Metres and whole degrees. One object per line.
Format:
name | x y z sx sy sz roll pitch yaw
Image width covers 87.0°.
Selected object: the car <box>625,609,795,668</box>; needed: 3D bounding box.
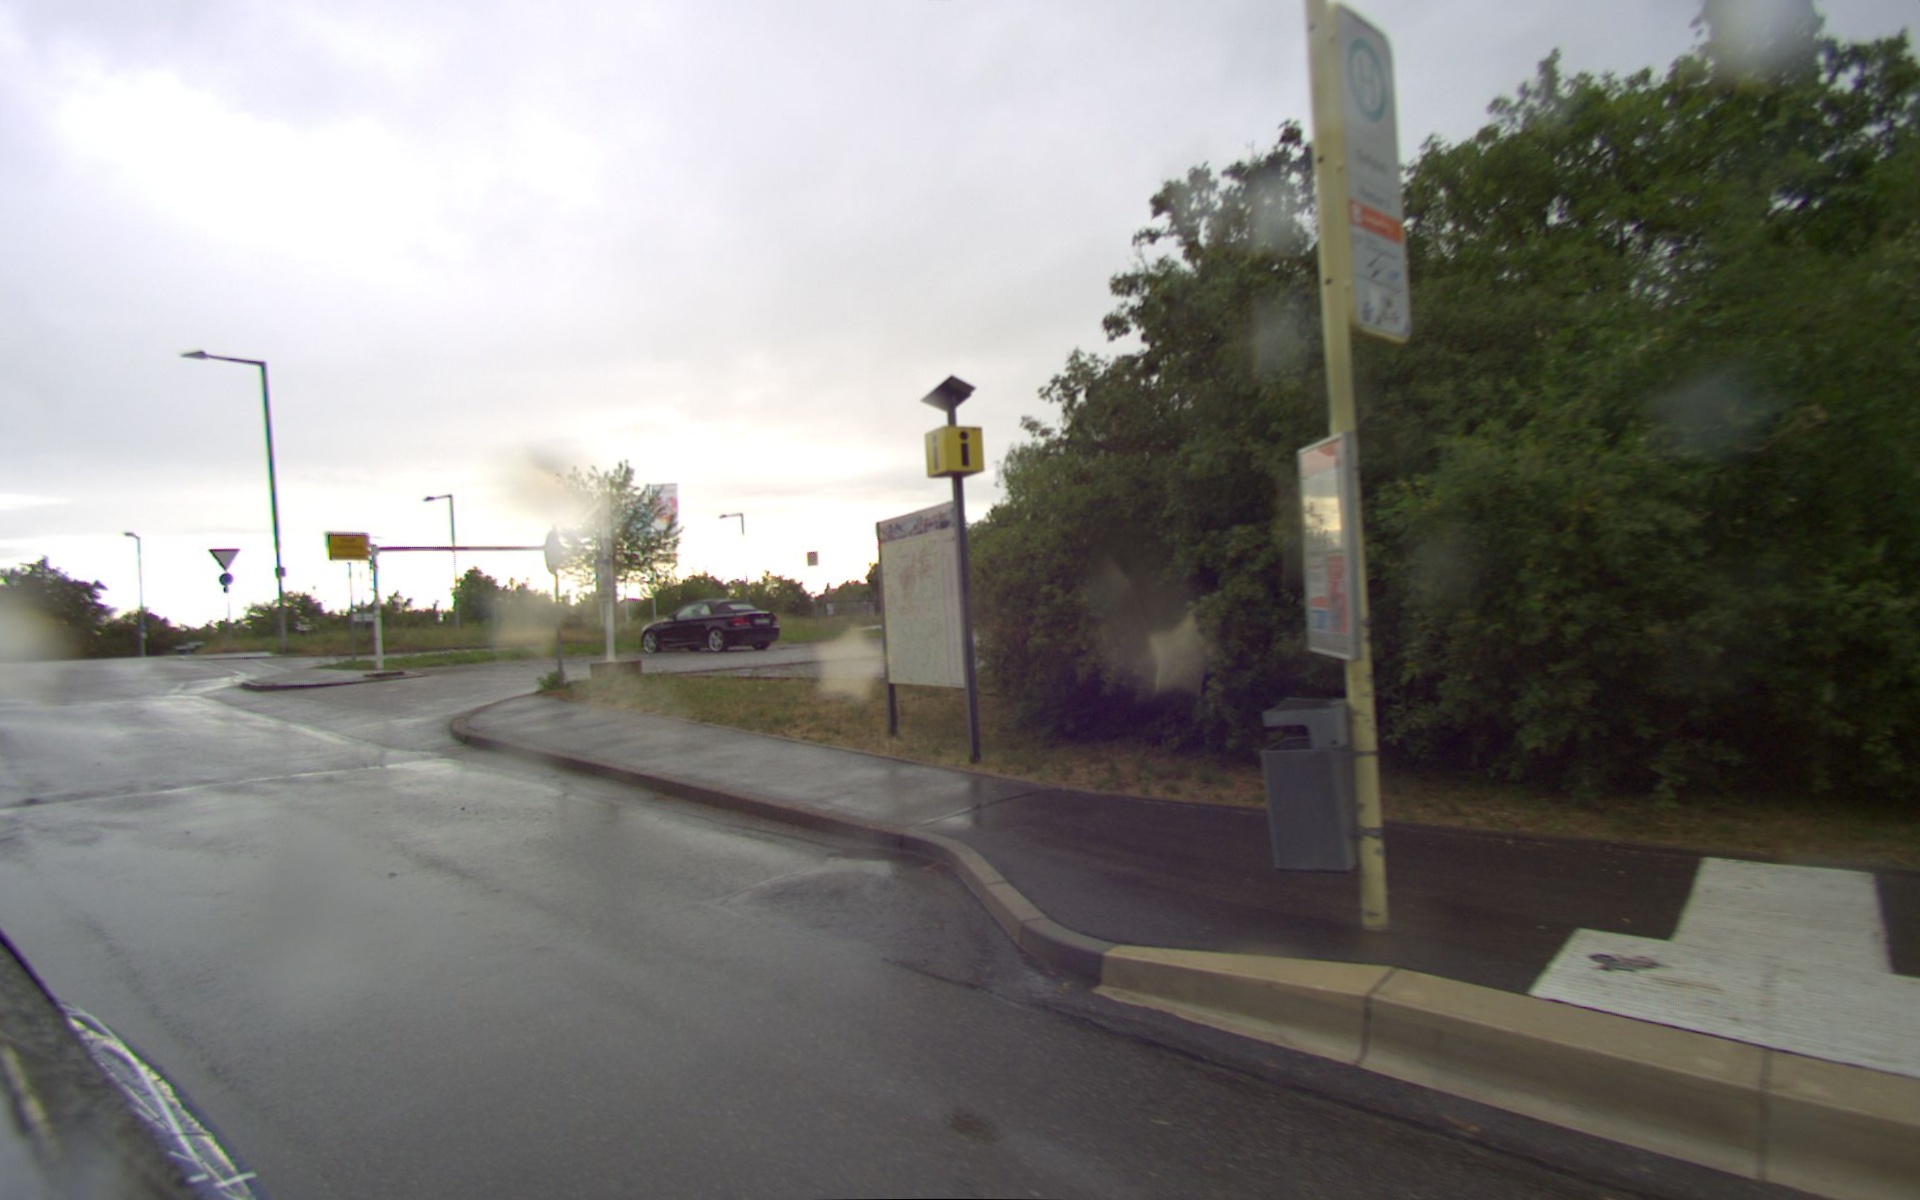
car | -6.730 1.047 27.079 4.418 1.425 1.976 -3 -1 35
